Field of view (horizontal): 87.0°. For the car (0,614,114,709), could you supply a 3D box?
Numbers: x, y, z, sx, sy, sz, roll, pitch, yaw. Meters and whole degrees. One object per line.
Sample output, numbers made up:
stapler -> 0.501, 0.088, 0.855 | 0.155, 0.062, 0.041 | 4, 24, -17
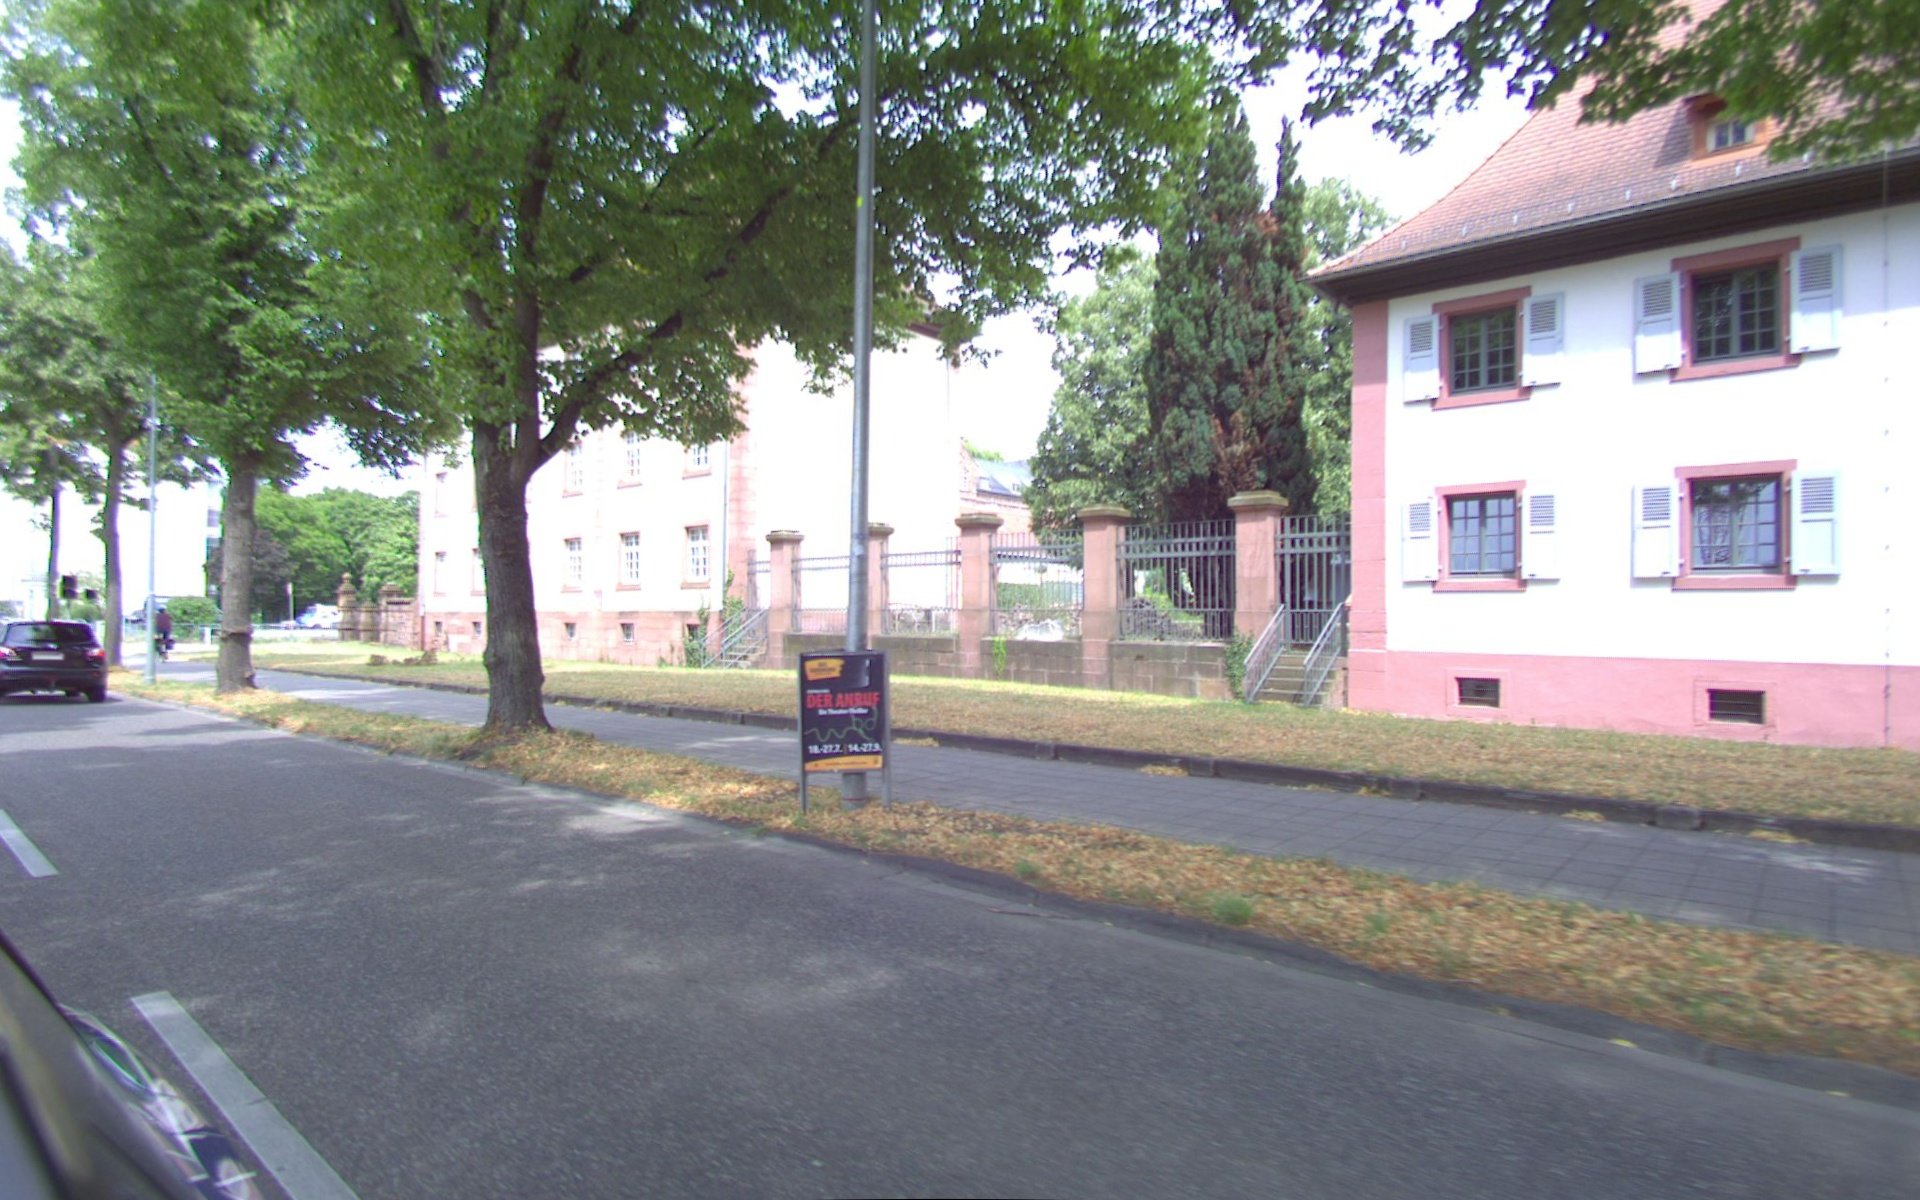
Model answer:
car -> -18.057, 1.139, 19.550 | 4.251, 1.672, 1.754 | -1, -3, 39

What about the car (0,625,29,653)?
car -> -53.185, 2.146, 56.071 | 4.293, 1.484, 1.804 | -2, 0, 39

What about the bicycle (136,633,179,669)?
bicycle -> -27.108, 1.708, 34.173 | 2.150, 1.103, 0.715 | -2, 1, 41

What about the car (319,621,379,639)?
car -> -52.300, 2.528, 86.623 | 1.616, 1.494, 4.112 | -1, -1, 41

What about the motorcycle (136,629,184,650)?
motorcycle -> -46.746, 2.329, 59.143 | 2.066, 1.151, 0.725 | 4, -4, -45

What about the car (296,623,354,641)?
car -> -56.217, 2.806, 89.643 | 1.969, 1.494, 3.946 | -1, -1, 41

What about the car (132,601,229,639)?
car -> -56.813, 1.430, 73.812 | 2.354, 2.571, 5.254 | -1, 0, 42

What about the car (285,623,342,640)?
car -> -58.264, 2.804, 91.230 | 1.857, 1.494, 3.946 | -1, -1, 41

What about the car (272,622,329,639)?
car -> -60.528, 2.823, 92.886 | 1.982, 1.494, 3.946 | -1, -1, 41

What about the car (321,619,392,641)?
car -> -50.547, 2.524, 84.787 | 2.330, 1.677, 4.641 | -2, -3, 43

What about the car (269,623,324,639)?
car -> -62.115, 2.872, 94.746 | 1.982, 1.494, 3.946 | -1, -1, 41

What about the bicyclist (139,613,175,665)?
bicyclist -> -27.020, 1.310, 34.052 | 0.958, 1.668, 0.715 | -2, 1, 41
